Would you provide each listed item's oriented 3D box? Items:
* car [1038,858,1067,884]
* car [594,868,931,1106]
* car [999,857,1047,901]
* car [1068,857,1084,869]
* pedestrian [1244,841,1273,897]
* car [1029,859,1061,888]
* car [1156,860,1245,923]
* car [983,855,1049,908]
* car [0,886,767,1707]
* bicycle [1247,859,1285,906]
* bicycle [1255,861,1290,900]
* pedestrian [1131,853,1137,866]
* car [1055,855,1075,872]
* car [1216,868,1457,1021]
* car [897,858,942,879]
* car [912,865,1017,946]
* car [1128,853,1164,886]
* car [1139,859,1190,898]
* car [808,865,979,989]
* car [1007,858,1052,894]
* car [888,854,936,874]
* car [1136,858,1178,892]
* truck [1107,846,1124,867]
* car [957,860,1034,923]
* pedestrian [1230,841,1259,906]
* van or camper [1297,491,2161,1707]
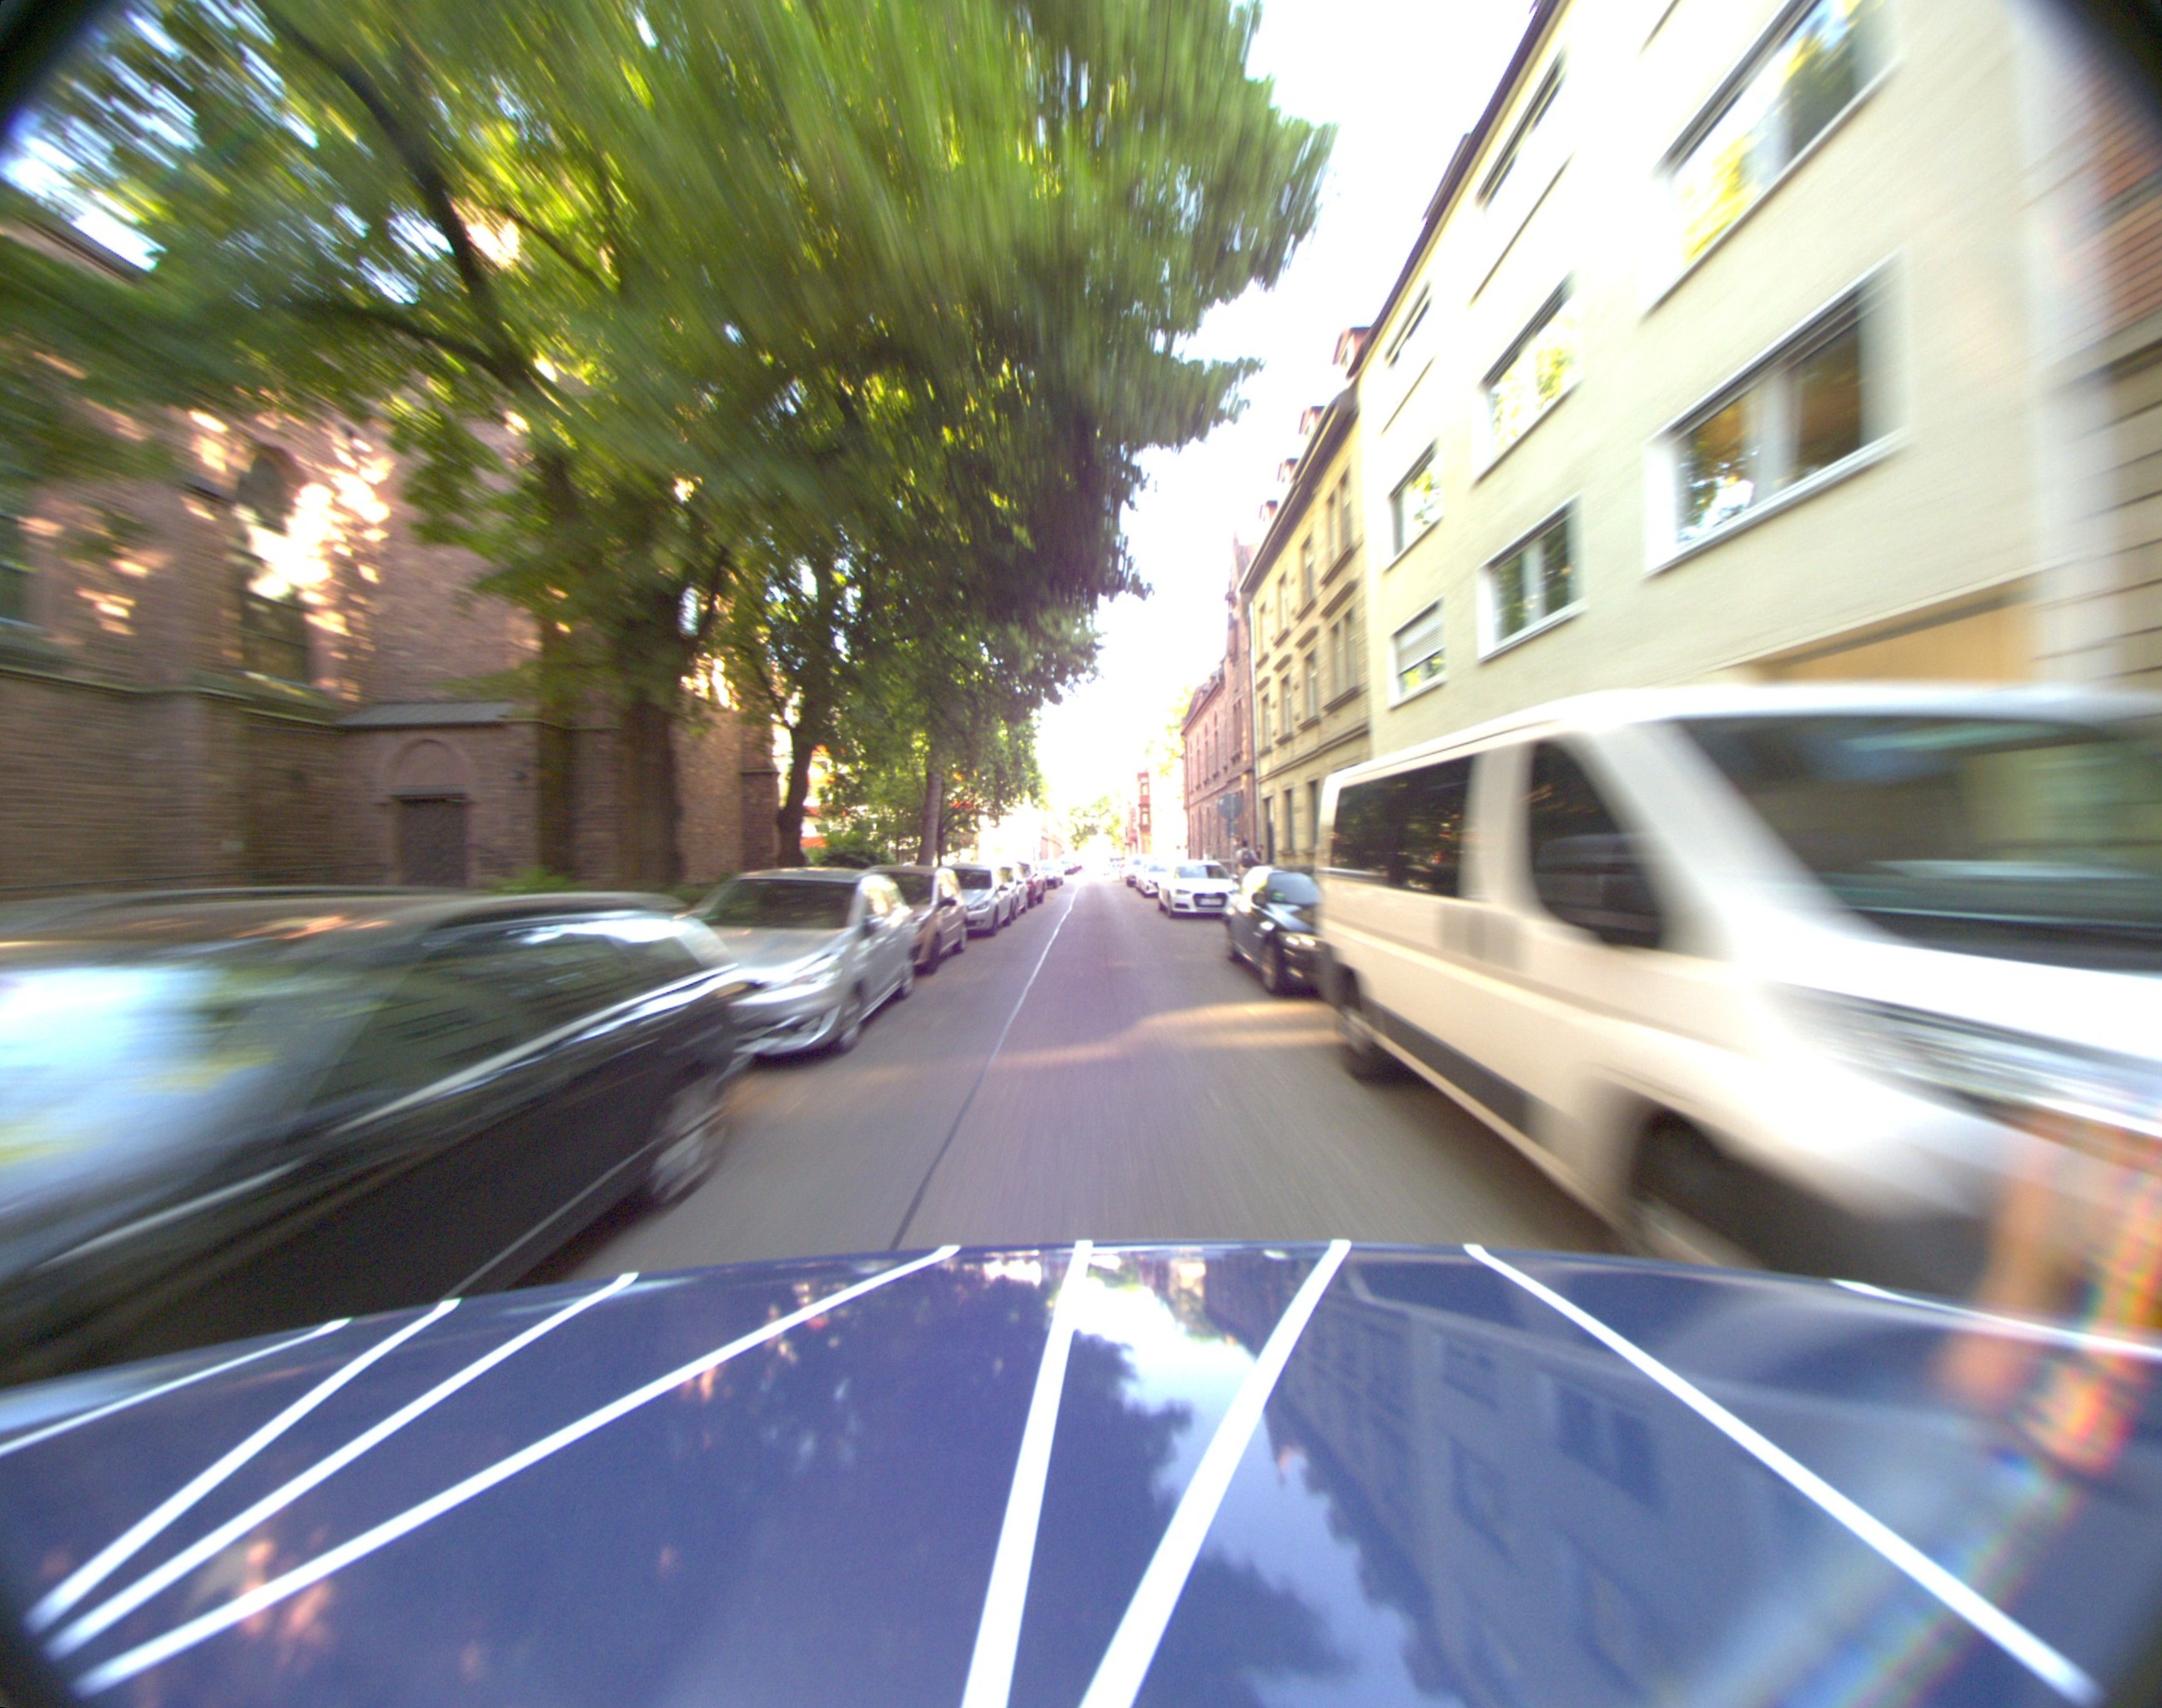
[{"bbox_3d":[-1.747,1.010,47.587,1.713,1.511,3.831,0,1,0],"label":"car"},{"bbox_3d":[-2.628,0.984,7.215,1.603,1.496,3.627,3,1,0],"label":"car"},{"bbox_3d":[-2.329,0.978,31.372,1.668,1.511,3.951,3,1,-1],"label":"car"},{"bbox_3d":[-0.634,1.310,108.278,1.998,1.659,4.001,-1,0,3],"label":"car"},{"bbox_3d":[6.230,0.508,26.765,0.768,1.917,0.763,-2,0,-3],"label":"pedestrian"},{"bbox_3d":[-1.954,1.046,42.016,1.625,1.428,4.002,0,1,0],"label":"car"},{"bbox_3d":[3.060,0.899,20.283,1.735,1.447,4.521,1,0,1],"label":"car"},{"bbox_3d":[-2.187,0.882,26.550,1.668,1.577,4.101,3,1,3],"label":"car"},{"bbox_3d":[-2.635,0.985,2.156,1.680,1.433,4.693,3,1,-3],"label":"car"},{"bbox_3d":[5.279,0.788,21.799,0.572,1.236,1.844,-4,0,0],"label":"bicycle"},{"bbox_3d":[6.160,0.834,24.523,0.572,1.141,1.844,-4,0,0],"label":"bicycle"},{"bbox_3d":[6.678,0.680,95.258,0.670,1.585,0.597,-2,0,-2],"label":"pedestrian"},{"bbox_3d":[-1.546,0.959,76.030,1.845,1.643,4.000,0,0,1],"label":"car"},{"bbox_3d":[2.867,0.915,9.560,1.735,1.394,4.316,1,0,3],"label":"car"},{"bbox_3d":[-12.265,1.066,57.436,1.785,1.423,4.404,-3,2,-34],"label":"car"},{"bbox_3d":[-2.451,1.036,16.852,1.603,1.462,3.869,1,1,2],"label":"car"},{"bbox_3d":[3.466,0.782,41.187,1.713,1.664,4.278,1,1,2],"label":"car"},{"bbox_3d":[3.288,0.935,30.440,1.713,1.409,3.803,1,1,2],"label":"car"},{"bbox_3d":[-2.706,0.988,11.781,1.603,1.459,3.563,3,1,2],"label":"car"},{"bbox_3d":[-2.415,1.004,36.462,1.668,1.511,4.060,3,1,2],"label":"car"},{"bbox_3d":[-14.592,0.850,65.693,3.695,1.550,1.649,-1,3,0],"label":"car"},{"bbox_3d":[3.458,0.922,35.135,1.713,1.409,3.803,1,1,2],"label":"car"},{"bbox_3d":[4.354,0.305,95.597,1.971,2.643,5.885,0,0,1],"label":"truck"},{"bbox_3d":[-2.347,0.985,21.625,1.603,1.496,3.720,3,1,2],"label":"car"},{"bbox_3d":[4.708,0.544,21.891,0.489,1.792,1.115,-4,0,0],"label":"pedestrian"},{"bbox_3d":[2.710,0.569,3.457,2.182,2.135,5.155,1,0,3],"label":"van or camper"}]
